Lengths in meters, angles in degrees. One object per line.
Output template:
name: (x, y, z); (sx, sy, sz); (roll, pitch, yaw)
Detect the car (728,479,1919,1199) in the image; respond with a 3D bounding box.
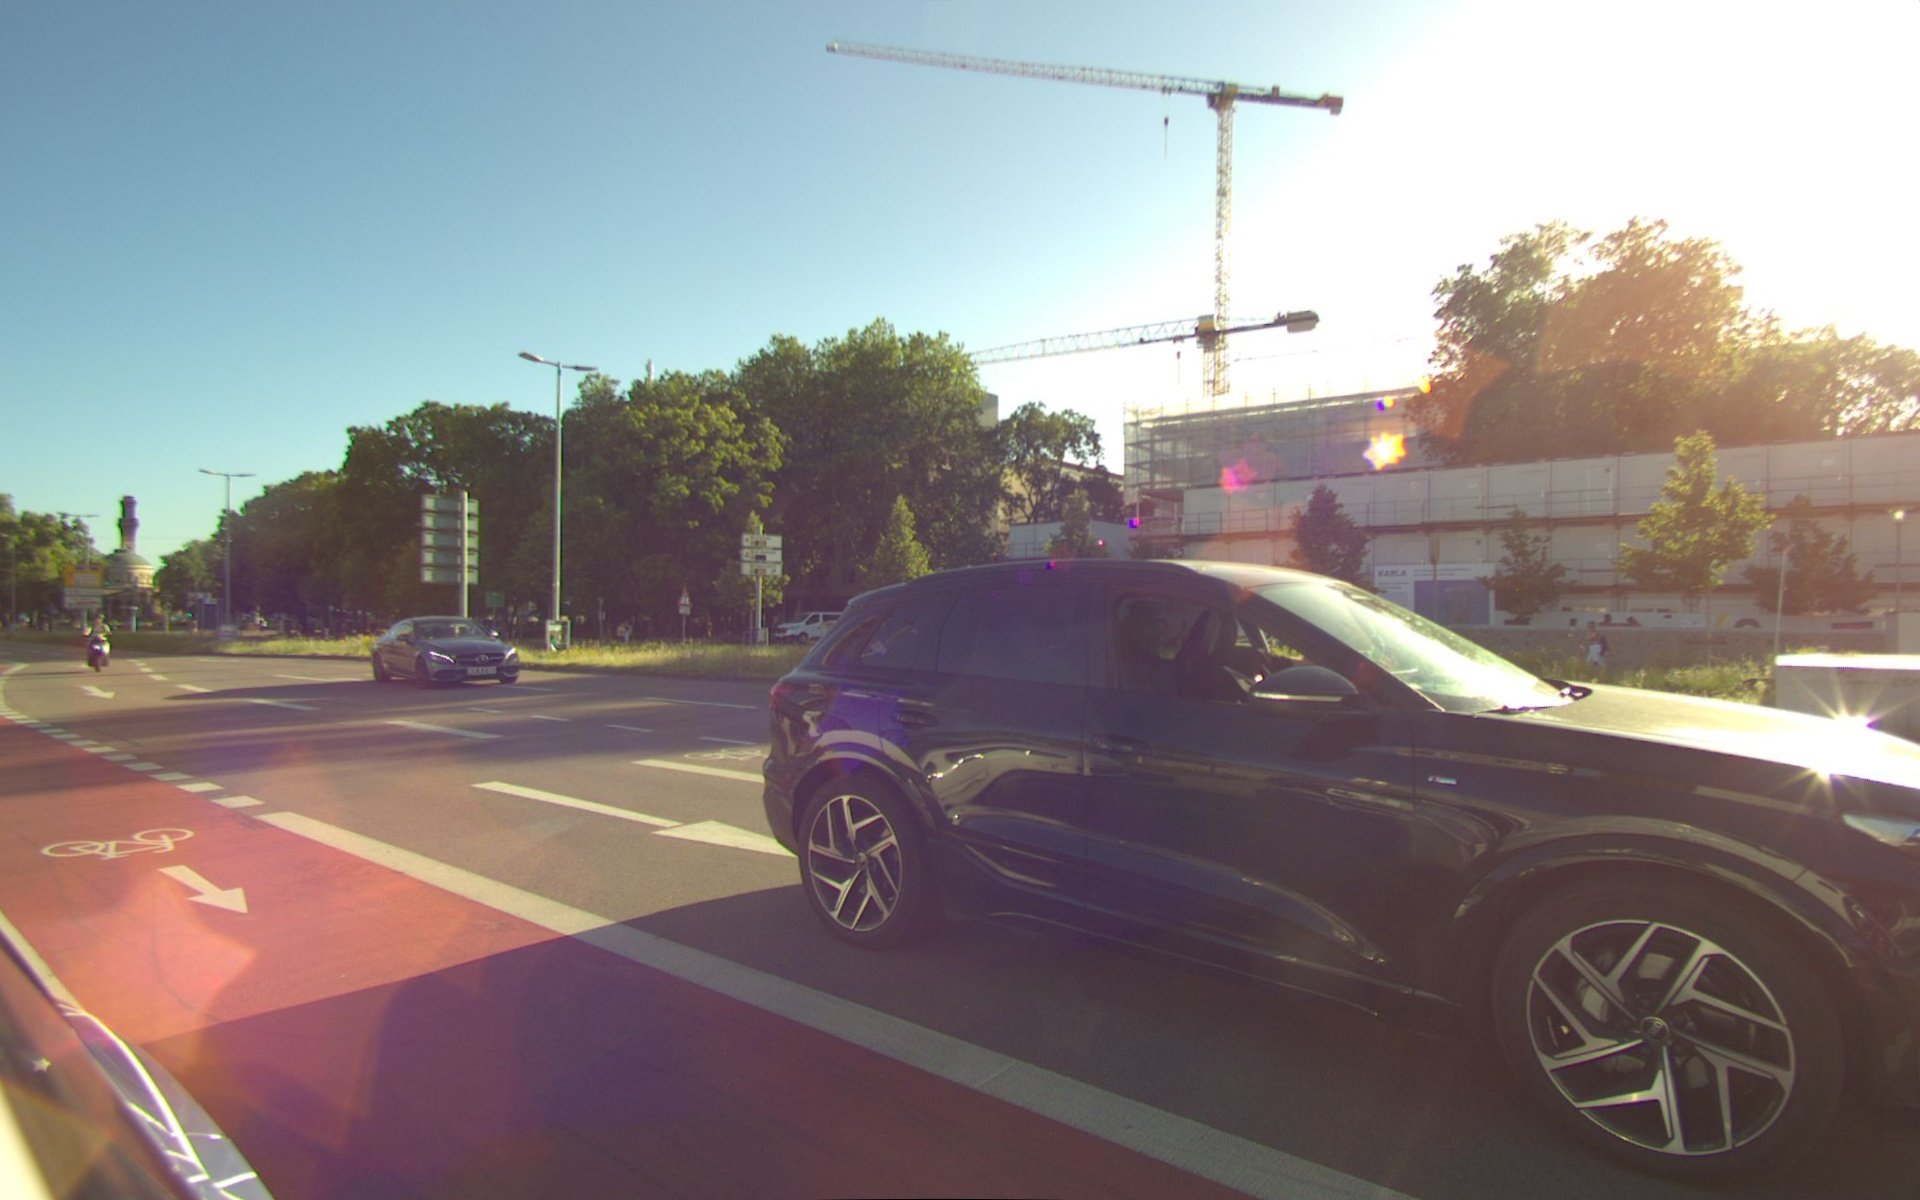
car: (1.268, 0.613, 4.038); (4.613, 1.656, 1.913); (-1, -1, 40)

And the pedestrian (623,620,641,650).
pedestrian: (-18.945, 2.003, 58.399); (0.762, 1.738, 0.656); (-1, -2, 41)

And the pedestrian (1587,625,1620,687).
pedestrian: (17.836, 1.539, 28.066); (0.626, 1.665, 0.930); (-1, -2, 41)

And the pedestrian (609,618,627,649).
pedestrian: (-19.504, 1.904, 57.700); (0.762, 1.738, 0.698); (-1, -2, 41)

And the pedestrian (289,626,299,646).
pedestrian: (-62.242, 3.338, 94.588); (0.733, 1.862, 0.561); (-1, -2, 40)

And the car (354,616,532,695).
car: (-10.899, 1.091, 21.183); (4.490, 1.417, 1.971); (-1, 0, 44)

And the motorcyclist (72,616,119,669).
motorcyclist: (-24.552, 1.192, 28.732); (0.960, 1.424, 1.060); (-1, -1, -43)

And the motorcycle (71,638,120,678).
motorcycle: (-24.584, 1.616, 28.765); (0.960, 1.022, 2.269); (-1, -1, -43)

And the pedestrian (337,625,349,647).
pedestrian: (-52.716, 3.078, 86.462); (0.924, 1.862, 0.620); (-1, -2, 40)

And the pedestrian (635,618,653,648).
pedestrian: (-18.417, 1.916, 59.035); (0.762, 1.738, 0.698); (-1, -2, 41)

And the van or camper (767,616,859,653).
van or camper: (-8.934, 2.066, 61.943); (1.948, 2.029, 5.576); (-1, 0, 42)

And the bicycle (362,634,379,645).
bicycle: (-47.563, 3.200, 81.620); (1.744, 0.849, 0.602); (-1, -2, 40)

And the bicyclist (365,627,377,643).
bicyclist: (-47.548, 2.802, 81.647); (0.714, 1.291, 0.603); (-1, -2, 40)
